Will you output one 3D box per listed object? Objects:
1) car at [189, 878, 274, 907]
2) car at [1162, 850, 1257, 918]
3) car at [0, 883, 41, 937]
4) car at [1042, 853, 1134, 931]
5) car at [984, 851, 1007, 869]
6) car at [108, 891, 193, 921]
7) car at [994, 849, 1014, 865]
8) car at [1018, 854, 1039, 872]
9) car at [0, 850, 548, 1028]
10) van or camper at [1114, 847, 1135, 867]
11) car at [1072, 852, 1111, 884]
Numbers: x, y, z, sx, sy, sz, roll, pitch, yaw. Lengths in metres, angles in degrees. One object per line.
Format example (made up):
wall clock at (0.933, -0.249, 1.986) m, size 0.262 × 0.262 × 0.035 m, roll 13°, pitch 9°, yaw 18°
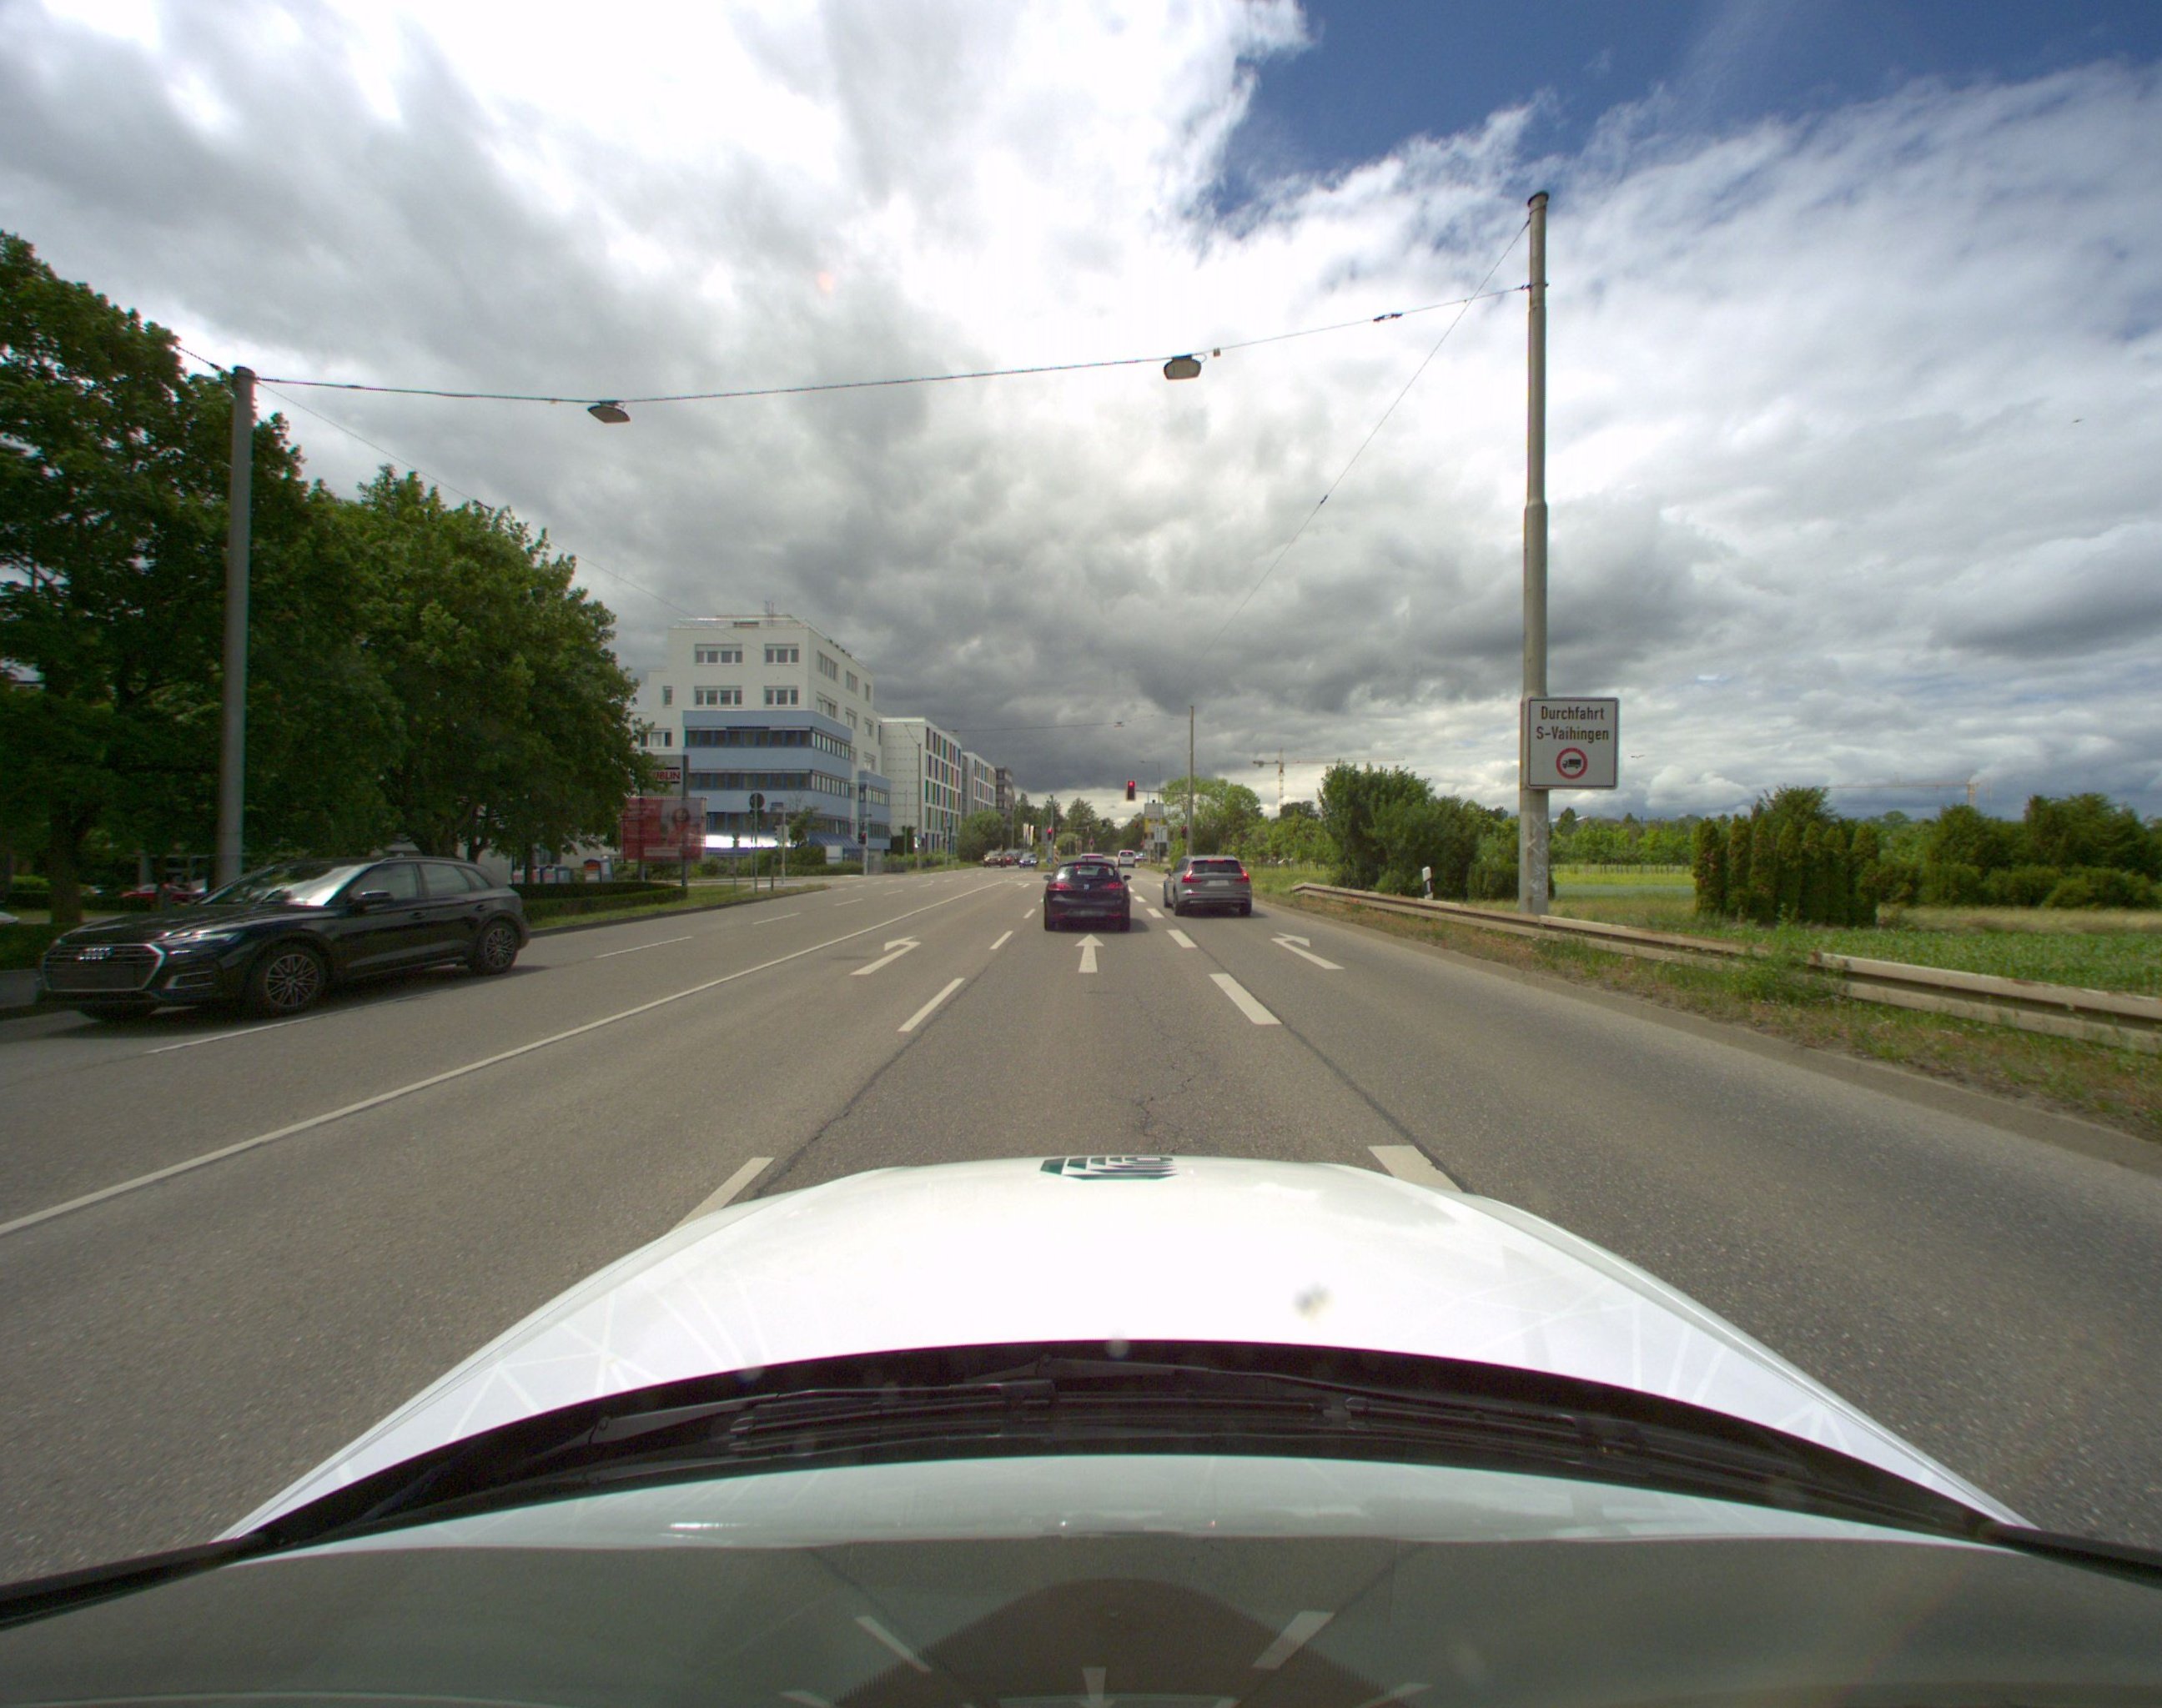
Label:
car at (-60.241, 2.726, 57.800) m, size 3.969 × 1.980 × 2.002 m, roll 0°, pitch -1°, yaw 4°
car at (3.214, 0.719, 21.121) m, size 1.950 × 1.525 × 4.343 m, roll -1°, pitch -1°, yaw 3°
car at (-37.335, 1.939, 26.776) m, size 3.971 × 1.727 × 1.787 m, roll -3°, pitch 0°, yaw 2°
car at (0.263, 0.741, 17.518) m, size 1.740 × 1.484 × 4.004 m, roll 0°, pitch -1°, yaw 4°
car at (-8.111, 0.536, 77.672) m, size 1.745 × 1.631 × 4.000 m, roll -2°, pitch 0°, yaw 0°
car at (-66.067, 3.667, 57.847) m, size 3.969 × 2.014 × 1.895 m, roll 0°, pitch -1°, yaw 4°
car at (-8.268, 0.342, 87.868) m, size 1.770 × 1.612 × 4.000 m, roll 0°, pitch -1°, yaw 0°
car at (-4.890, 0.804, 76.210) m, size 1.663 × 1.524 × 4.008 m, roll -2°, pitch 1°, yaw 0°
car at (-8.878, 0.796, 9.731) m, size 1.860 × 1.615 × 4.574 m, roll 0°, pitch 0°, yaw 2°
van or camper at (4.740, 0.387, 88.886) m, size 1.895 × 1.926 × 3.995 m, roll 0°, pitch -3°, yaw -3°
car at (0.537, 0.686, 43.477) m, size 1.977 × 1.590 × 4.225 m, roll 0°, pitch 0°, yaw 0°
